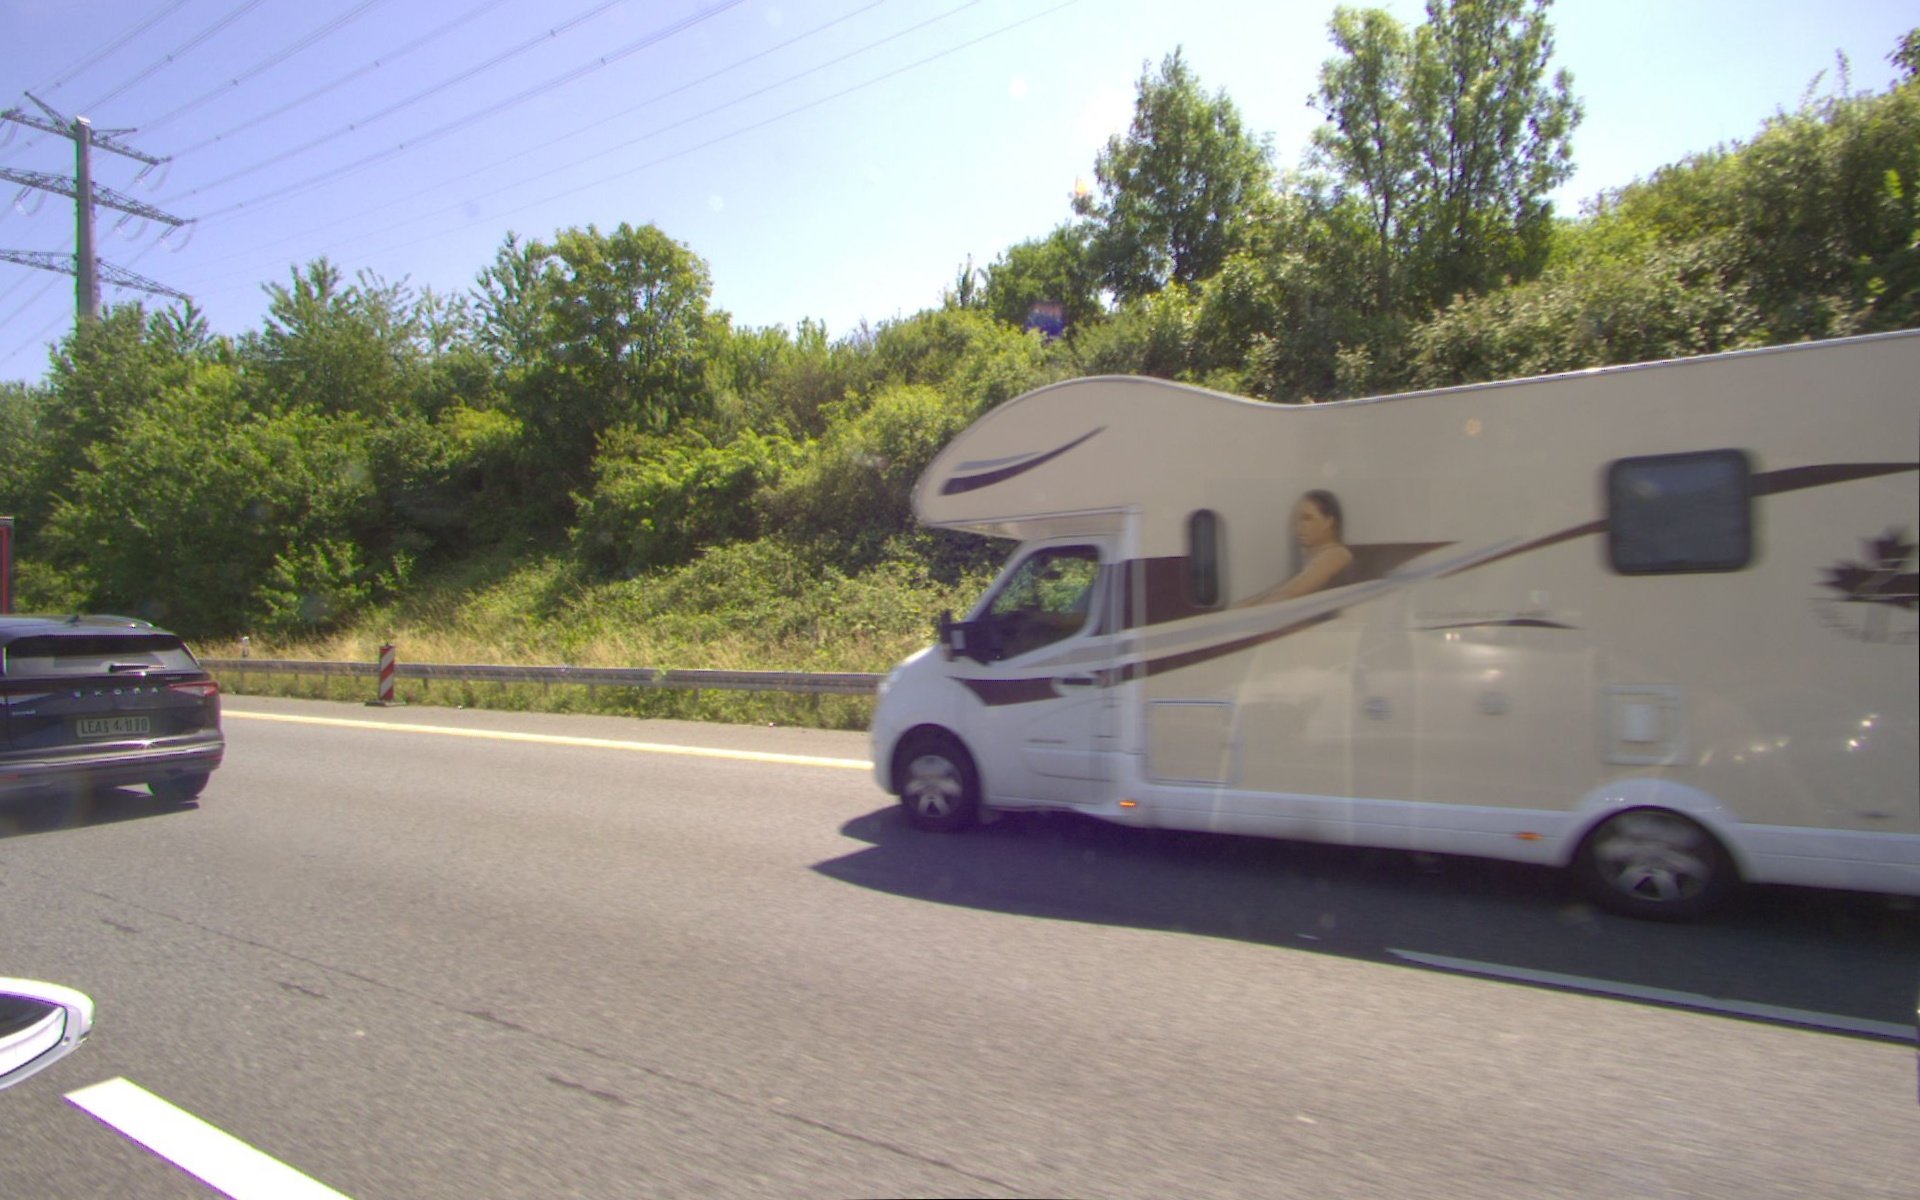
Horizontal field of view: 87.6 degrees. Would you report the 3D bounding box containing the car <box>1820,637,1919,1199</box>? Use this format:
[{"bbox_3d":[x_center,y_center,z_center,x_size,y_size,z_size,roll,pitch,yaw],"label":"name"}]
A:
[{"bbox_3d":[4.004,0.753,1.036,4.444,1.437,1.793,-1,-2,31],"label":"car"}]

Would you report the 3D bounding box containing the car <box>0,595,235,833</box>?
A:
[{"bbox_3d":[-8.375,0.872,8.731,4.364,1.676,1.699,-1,-2,30],"label":"car"}]

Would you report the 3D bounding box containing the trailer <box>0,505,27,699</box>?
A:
[{"bbox_3d":[-26.333,0.148,23.583,12.917,4.098,2.780,-1,-2,30],"label":"trailer"}]

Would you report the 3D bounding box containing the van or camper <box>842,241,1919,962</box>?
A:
[{"bbox_3d":[2.940,0.083,6.395,7.522,3.082,2.366,-1,-2,32],"label":"van or camper"}]
